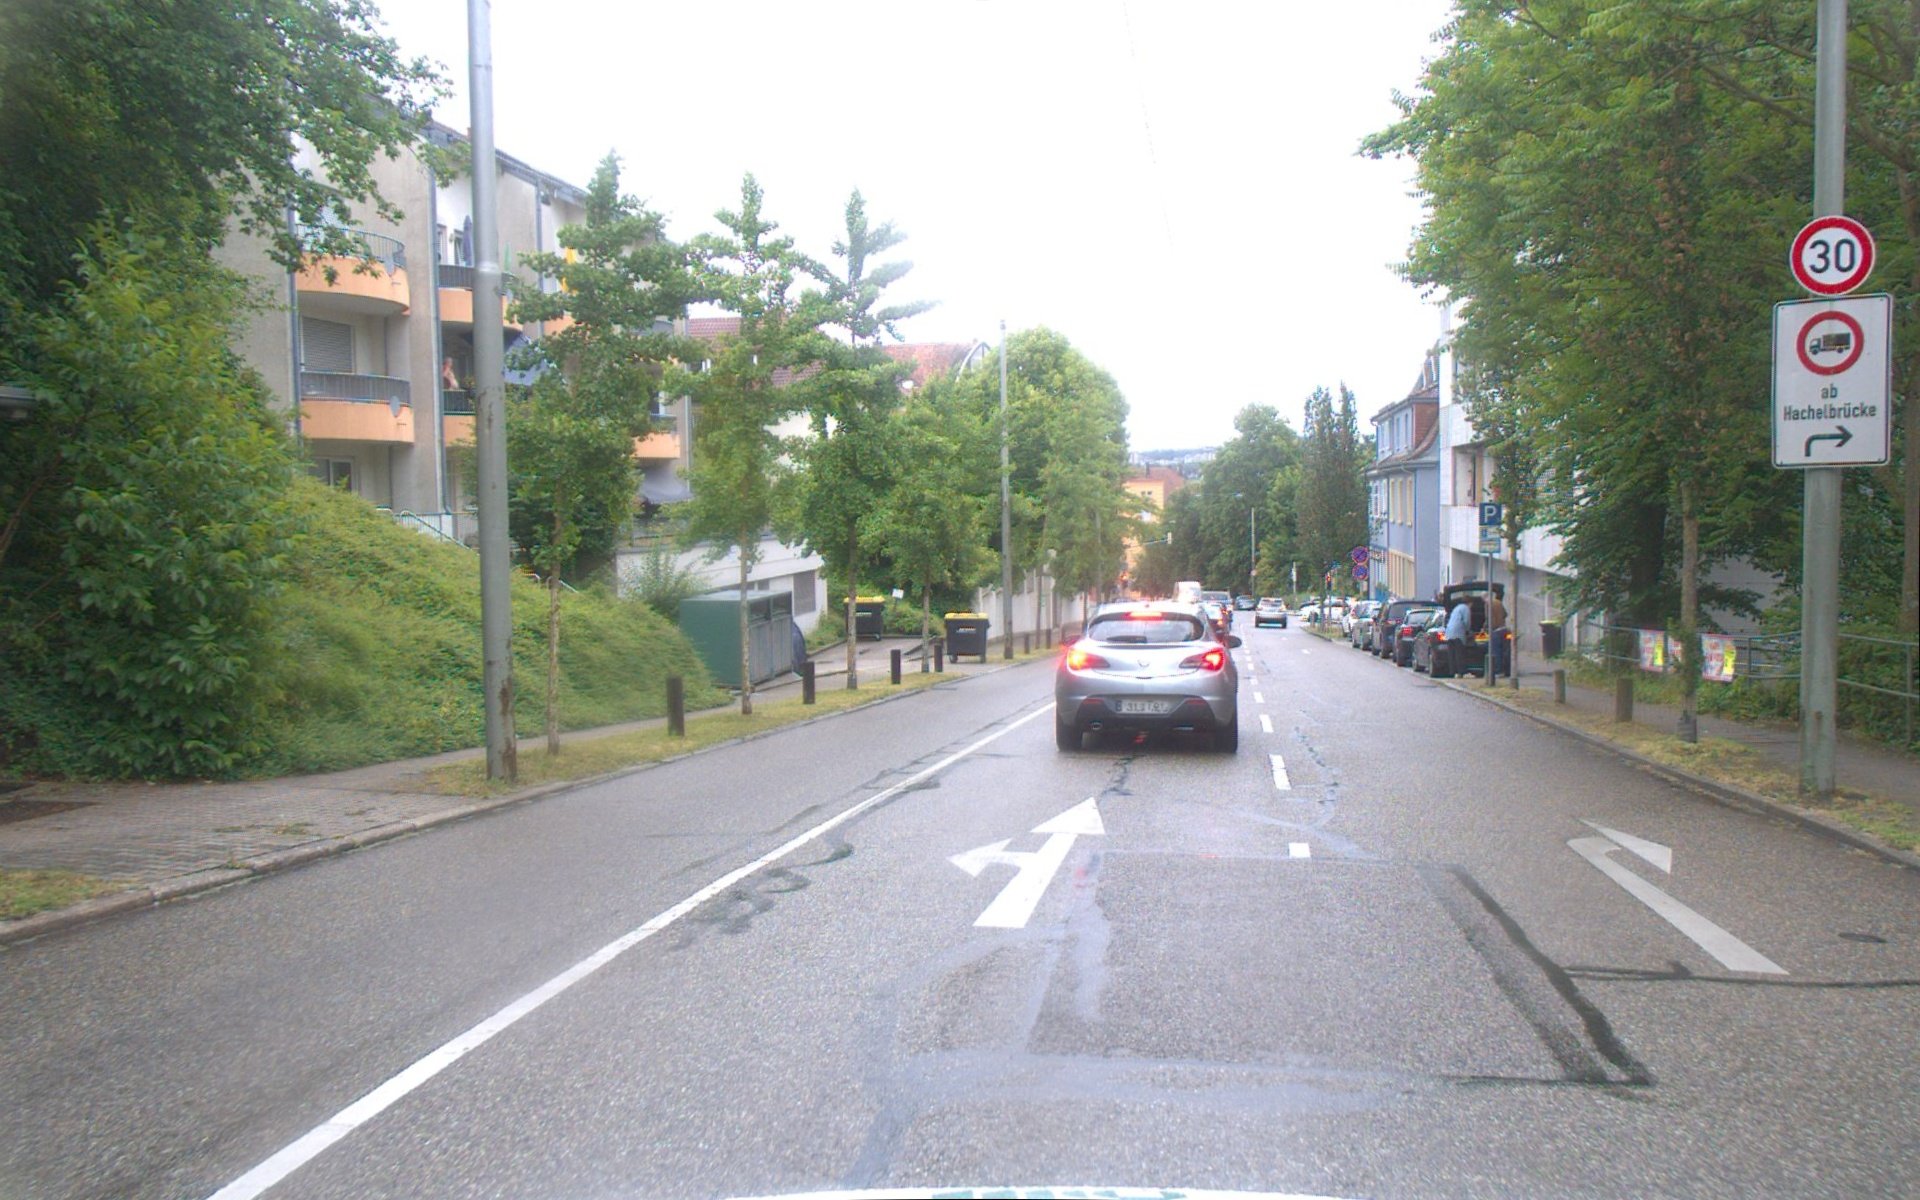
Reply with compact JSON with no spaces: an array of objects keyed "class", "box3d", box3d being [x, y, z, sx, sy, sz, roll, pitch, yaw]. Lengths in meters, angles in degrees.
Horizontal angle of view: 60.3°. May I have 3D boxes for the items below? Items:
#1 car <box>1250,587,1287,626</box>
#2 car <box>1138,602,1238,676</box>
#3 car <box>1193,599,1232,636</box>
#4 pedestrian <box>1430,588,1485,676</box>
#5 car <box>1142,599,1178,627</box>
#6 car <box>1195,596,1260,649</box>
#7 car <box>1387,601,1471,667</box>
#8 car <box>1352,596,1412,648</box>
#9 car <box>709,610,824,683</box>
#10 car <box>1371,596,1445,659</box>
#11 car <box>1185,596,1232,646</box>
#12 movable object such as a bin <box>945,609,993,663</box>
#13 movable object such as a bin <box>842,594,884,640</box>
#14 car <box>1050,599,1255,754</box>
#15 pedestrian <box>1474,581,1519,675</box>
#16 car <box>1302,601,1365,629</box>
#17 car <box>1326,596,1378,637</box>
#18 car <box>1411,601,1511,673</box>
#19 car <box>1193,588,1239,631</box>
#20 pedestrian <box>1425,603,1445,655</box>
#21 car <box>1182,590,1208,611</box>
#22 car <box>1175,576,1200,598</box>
[{"class":"car","box3d":[17.863,0.363,95.887,1.951,2.071,4.739,2,1,10]},{"class":"car","box3d":[4.620,0.751,33.943,1.760,1.346,4.003,0,1,4]},{"class":"car","box3d":[12.130,0.824,79.660,1.717,1.679,4.003,2,0,8]},{"class":"pedestrian","box3d":[10.305,0.655,34.300,0.723,1.753,0.762,-3,0,-16]},{"class":"car","box3d":[11.924,0.744,98.338,1.811,1.494,4.091,-4,-1,10]},{"class":"car","box3d":[8.573,0.705,53.330,1.919,1.497,3.954,2,1,8]},{"class":"car","box3d":[11.881,0.819,42.089,1.645,1.489,4.004,-2,1,10]},{"class":"car","box3d":[13.763,0.683,54.070,1.550,1.519,4.294,-2,1,10]},{"class":"car","box3d":[-4.437,1.039,38.478,1.705,1.482,3.887,-4,-1,7]},{"class":"car","box3d":[12.618,0.735,46.748,1.650,1.598,4.004,-2,1,10]},{"class":"car","box3d":[9.831,0.806,65.691,1.731,1.812,3.980,2,1,8]},{"class":"movable object such as a bin","box3d":[0.240,0.976,45.060,1.245,1.411,0.489,0,1,7]},{"class":"movable object such as a bin","box3d":[-3.007,0.531,51.350,1.245,1.411,0.489,1,1,7]},{"class":"car","box3d":[1.987,0.725,17.526,1.904,1.457,3.886,-1,0,5]},{"class":"pedestrian","box3d":[11.060,0.568,34.120,0.672,1.868,0.666,-3,0,7]},{"class":"car","box3d":[24.627,0.969,109.226,3.770,1.504,1.830,-4,0,4]},{"class":"car","box3d":[16.347,0.666,69.115,1.866,1.598,4.004,-2,1,10]},{"class":"car","box3d":[10.964,0.781,36.423,1.471,1.460,4.003,-2,-1,8]},{"class":"car","box3d":[13.671,0.463,88.023,2.284,2.071,4.739,2,1,10]},{"class":"pedestrian","box3d":[16.635,1.020,57.943,0.631,1.815,0.542,0,0,10]},{"class":"car","box3d":[19.077,0.048,134.098,1.951,1.562,4.313,2,1,10]},{"class":"car","box3d":[19.477,-1.128,141.472,1.951,1.815,4.004,2,1,10]}]
